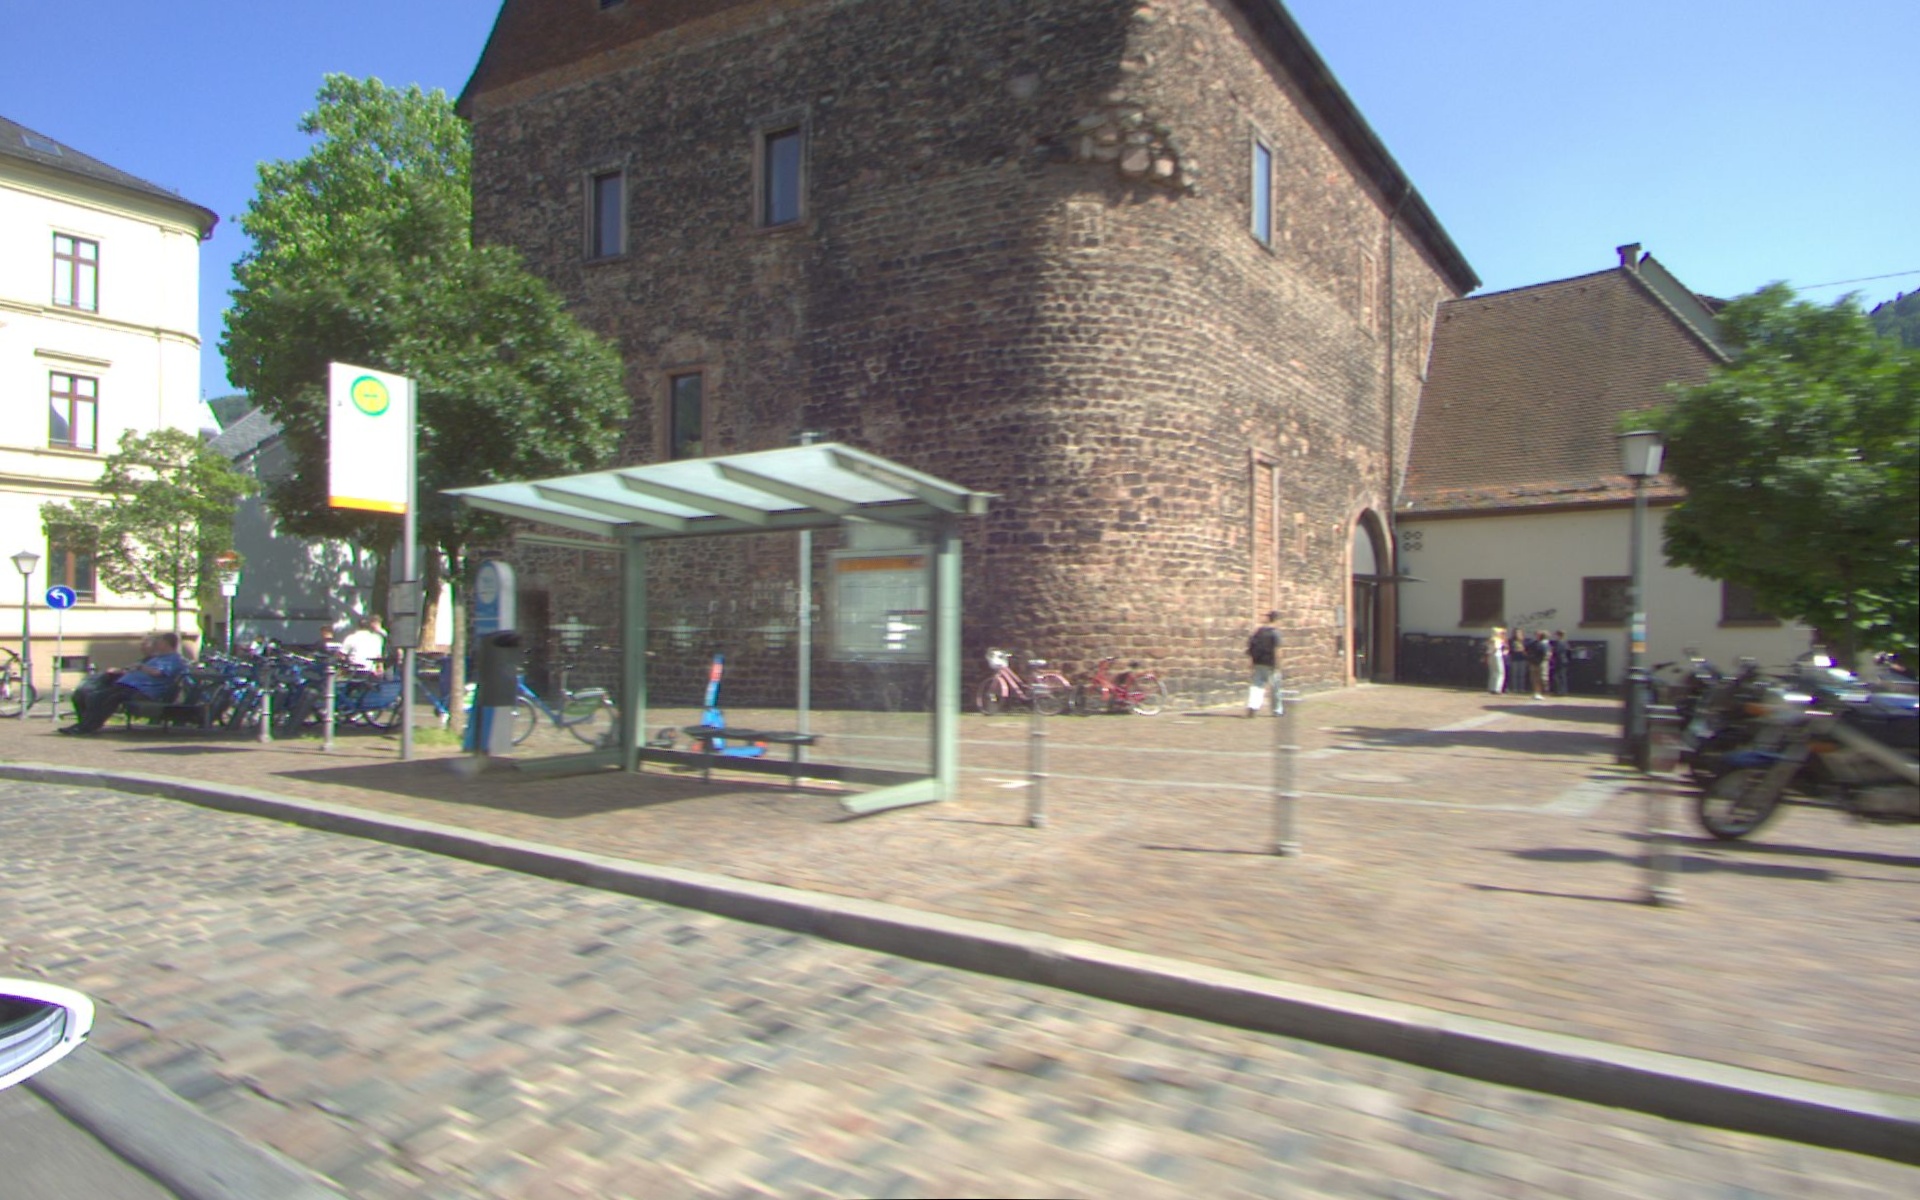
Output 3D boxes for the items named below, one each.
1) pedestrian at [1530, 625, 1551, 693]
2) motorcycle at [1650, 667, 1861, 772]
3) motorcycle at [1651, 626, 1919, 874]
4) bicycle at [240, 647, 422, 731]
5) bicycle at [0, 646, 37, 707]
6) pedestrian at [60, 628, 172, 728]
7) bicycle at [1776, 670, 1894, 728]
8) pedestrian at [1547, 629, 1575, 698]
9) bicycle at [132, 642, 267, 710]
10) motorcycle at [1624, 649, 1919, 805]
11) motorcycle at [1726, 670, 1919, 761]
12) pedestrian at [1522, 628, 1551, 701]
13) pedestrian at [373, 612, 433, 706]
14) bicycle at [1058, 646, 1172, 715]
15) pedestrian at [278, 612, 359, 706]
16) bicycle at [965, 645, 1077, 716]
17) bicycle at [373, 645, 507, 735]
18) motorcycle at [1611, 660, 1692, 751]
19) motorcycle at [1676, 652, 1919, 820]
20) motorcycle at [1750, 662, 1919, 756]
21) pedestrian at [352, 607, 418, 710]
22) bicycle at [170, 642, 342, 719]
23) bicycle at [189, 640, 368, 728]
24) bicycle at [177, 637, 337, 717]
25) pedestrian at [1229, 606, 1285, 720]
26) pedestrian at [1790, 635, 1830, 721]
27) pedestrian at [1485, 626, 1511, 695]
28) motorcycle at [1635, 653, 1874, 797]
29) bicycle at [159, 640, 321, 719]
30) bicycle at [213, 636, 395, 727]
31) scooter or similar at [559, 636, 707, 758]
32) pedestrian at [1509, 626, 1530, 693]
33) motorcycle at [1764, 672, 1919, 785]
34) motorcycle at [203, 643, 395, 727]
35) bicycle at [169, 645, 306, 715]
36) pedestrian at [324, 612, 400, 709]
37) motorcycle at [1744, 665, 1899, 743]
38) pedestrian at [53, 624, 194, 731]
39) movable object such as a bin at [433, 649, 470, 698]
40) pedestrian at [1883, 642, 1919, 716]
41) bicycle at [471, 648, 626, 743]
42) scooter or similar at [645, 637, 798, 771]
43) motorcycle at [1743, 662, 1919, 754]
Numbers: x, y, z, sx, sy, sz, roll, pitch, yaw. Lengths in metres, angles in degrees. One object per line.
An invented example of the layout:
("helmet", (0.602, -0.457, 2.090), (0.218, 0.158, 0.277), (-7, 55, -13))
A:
("pedestrian", (14.644, 1.486, 25.269), (0.445, 1.688, 0.358), (-1, -2, 32))
("motorcycle", (9.523, 1.401, 12.089), (1.899, 1.095, 0.629), (1, -1, 29))
("motorcycle", (5.496, 0.838, 5.689), (2.489, 1.309, 0.883), (0, -2, 29))
("bicycle", (-8.888, 1.234, 14.243), (0.789, 1.079, 2.023), (1, -3, 31))
("bicycle", (-16.711, 1.356, 17.507), (1.560, 1.015, 0.506), (-5, -5, 35))
("pedestrian", (-11.390, 1.032, 13.535), (0.683, 1.298, 0.959), (-1, -2, 30))
("bicycle", (17.421, 1.956, 19.974), (1.687, 1.027, 0.421), (2, 0, 27))
("pedestrian", (14.713, 1.551, 24.524), (0.580, 1.664, 0.420), (0, -1, 32))
("bicycle", (-13.381, 1.335, 17.677), (0.555, 1.124, 1.791), (1, -3, 31))
("motorcycle", (7.338, 1.081, 9.017), (2.241, 1.252, 0.737), (-1, -2, 35))
("motorcycle", (12.029, 1.581, 14.053), (1.993, 1.158, 0.739), (-1, -4, 35))
("pedestrian", (13.611, 1.511, 23.652), (0.574, 1.688, 0.531), (-1, -2, 32))
("pedestrian", (-11.872, 1.242, 21.353), (0.775, 1.966, 0.805), (0, -1, 3))
("bicycle", (2.671, 1.388, 17.376), (1.889, 1.167, 0.548), (0, -1, 2))
("pedestrian", (-12.535, 1.145, 19.603), (0.909, 1.787, 0.990), (0, -1, 0))
("bicycle", (1.060, 1.384, 17.497), (1.895, 1.175, 0.525), (-1, -2, 23))
("bicycle", (-7.443, 1.258, 14.377), (0.716, 1.213, 1.542), (-1, -2, 38))
("motorcycle", (9.747, 1.438, 14.103), (0.866, 1.161, 2.331), (-1, -3, 35))
("motorcycle", (7.168, 1.061, 8.073), (2.183, 1.252, 0.657), (-1, -2, 29))
("motorcycle", (12.916, 1.551, 14.669), (0.591, 1.252, 2.035), (1, -2, -32))
("pedestrian", (-11.353, 1.153, 19.788), (0.923, 1.985, 0.655), (0, -1, 17))
("bicycle", (-10.819, 1.225, 15.471), (0.595, 1.099, 2.078), (1, -3, 31))
("bicycle", (-10.213, 1.241, 15.100), (0.765, 1.213, 2.078), (1, -3, 31))
("bicycle", (-11.426, 1.248, 16.363), (0.519, 1.213, 2.078), (1, -3, 31))
("pedestrian", (5.055, 1.055, 17.033), (0.750, 1.869, 0.794), (-1, -2, 32))
("pedestrian", (17.866, 1.630, 21.066), (0.598, 1.763, 0.657), (0, -1, 37))
("pedestrian", (13.398, 1.495, 24.936), (0.525, 1.688, 0.580), (-1, -2, 32))
("motorcycle", (7.726, 1.174, 9.848), (1.782, 1.247, 0.668), (0, -2, 35))
("bicycle", (-11.931, 1.310, 16.675), (0.599, 1.213, 2.078), (1, -3, 31))
("bicycle", (-9.557, 1.176, 14.693), (0.765, 1.213, 2.078), (1, -3, 31))
("scooter or similar", (-3.528, 1.039, 10.918), (0.642, 1.230, 1.429), (-1, -4, 32))
("pedestrian", (14.272, 1.520, 25.528), (0.445, 1.688, 0.358), (-1, -2, 32))
("motorcycle", (9.847, 1.351, 10.648), (1.876, 1.108, 0.874), (-1, -2, 29))
("motorcycle", (-9.590, 1.220, 14.638), (0.765, 1.117, 2.202), (1, -3, 31))
("bicycle", (-12.370, 1.365, 17.202), (0.599, 1.124, 1.791), (1, -3, 31))
("pedestrian", (-11.241, 1.128, 18.844), (0.892, 1.775, 0.805), (0, -1, 14))
("motorcycle", (14.774, 1.758, 17.233), (1.887, 1.175, 0.597), (2, 0, 27))
("pedestrian", (-10.892, 0.982, 13.067), (0.683, 1.324, 1.246), (-1, -2, 30))
("movable object such as a bin", (-12.149, 1.749, 23.933), (0.741, 1.138, 0.488), (-1, -2, 33))
("pedestrian", (23.044, 1.924, 24.453), (0.665, 1.763, 0.657), (0, -1, 37))
("bicycle", (-5.120, 1.173, 12.507), (1.704, 1.145, 0.548), (0, -1, 3))
("scooter or similar", (-2.357, 1.016, 10.048), (0.642, 1.230, 1.429), (-1, -4, 32))
("motorcycle", (13.274, 1.598, 15.266), (0.591, 1.252, 2.036), (1, -2, -31))
